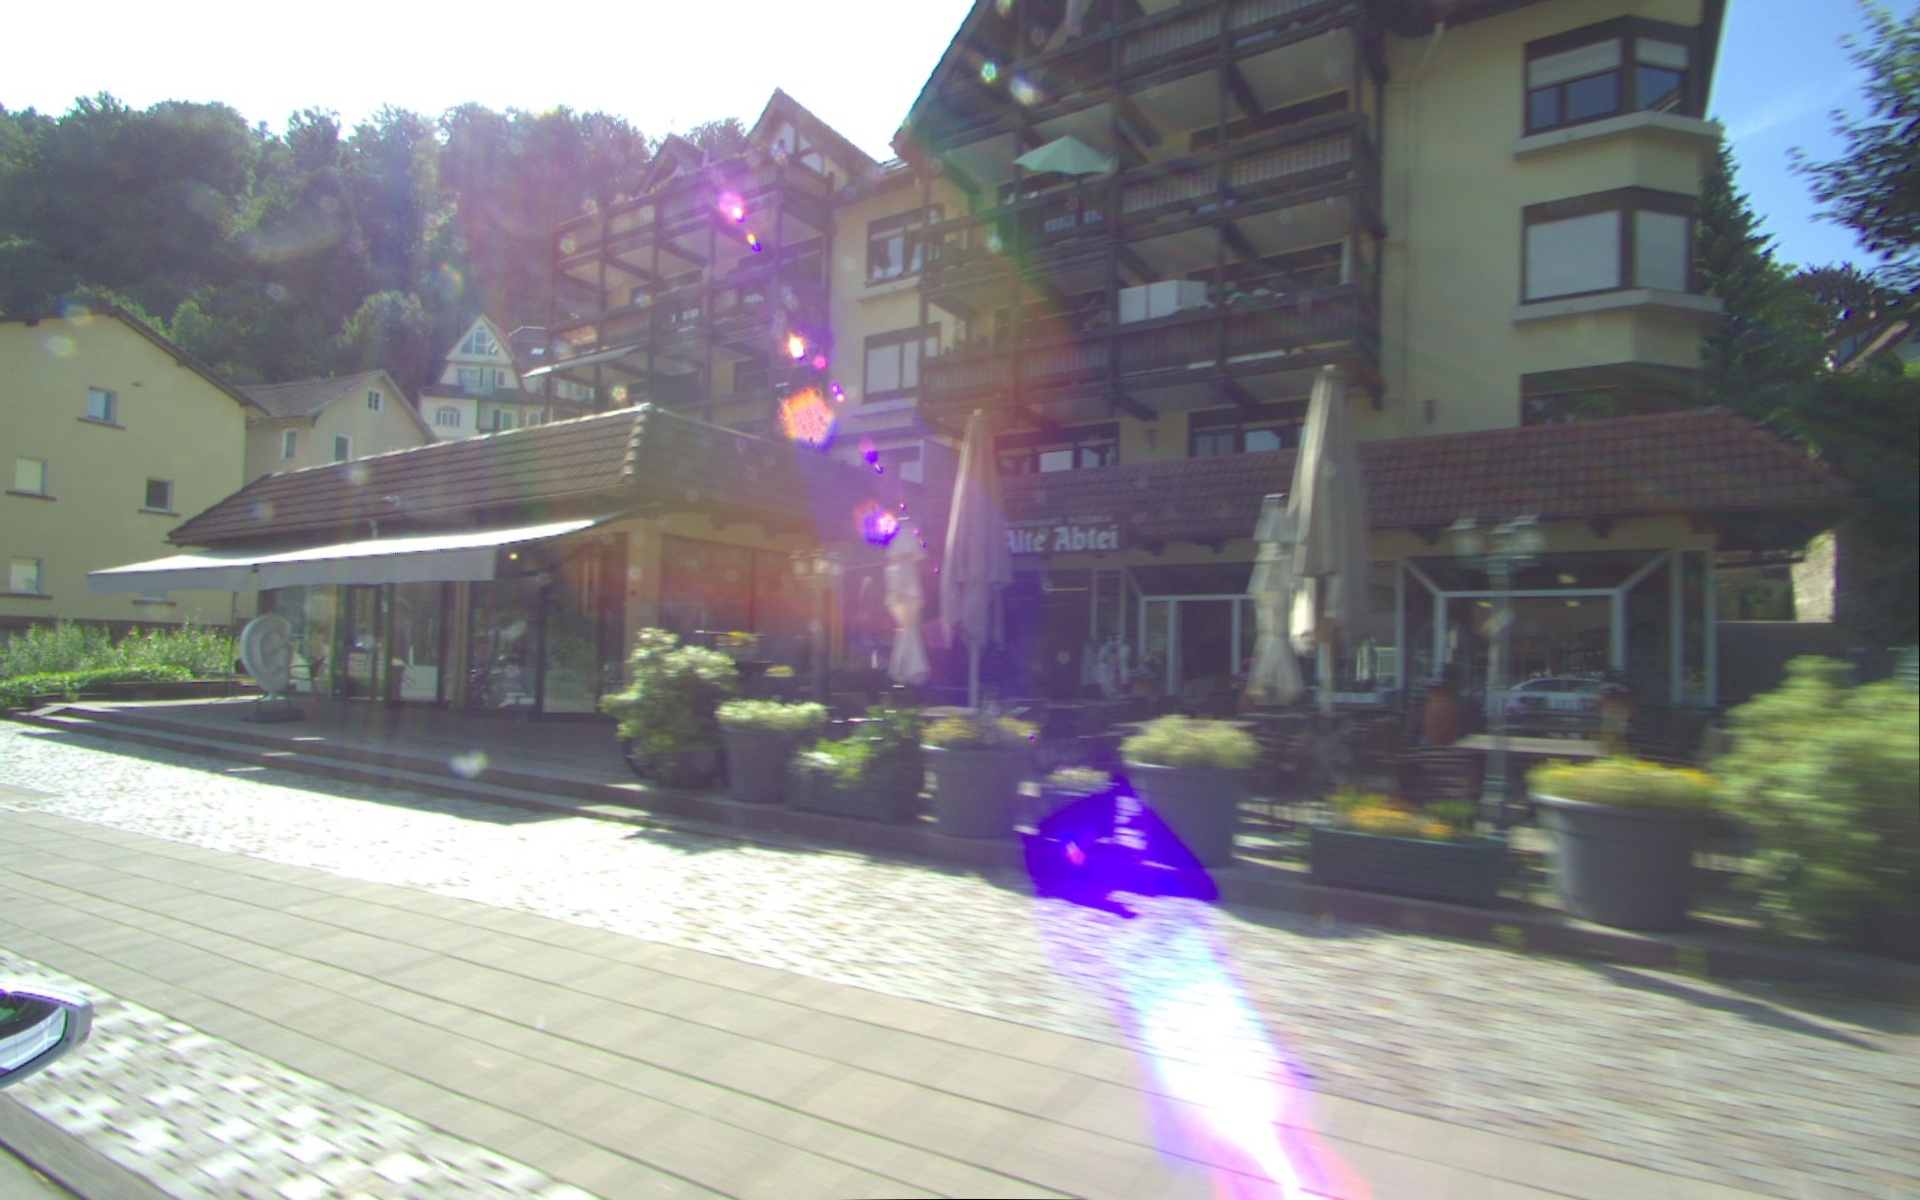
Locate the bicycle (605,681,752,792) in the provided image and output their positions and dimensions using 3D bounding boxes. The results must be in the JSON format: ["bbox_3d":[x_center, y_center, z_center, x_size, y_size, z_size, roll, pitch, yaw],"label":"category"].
[{"bbox_3d":[-2.559,1.197,9.032,1.596,0.874,0.395,-1,-4,38],"label":"bicycle"}]

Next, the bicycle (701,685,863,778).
[{"bbox_3d":[-1.836,1.347,10.366,1.585,0.852,0.397,2,-3,11],"label":"bicycle"}]
